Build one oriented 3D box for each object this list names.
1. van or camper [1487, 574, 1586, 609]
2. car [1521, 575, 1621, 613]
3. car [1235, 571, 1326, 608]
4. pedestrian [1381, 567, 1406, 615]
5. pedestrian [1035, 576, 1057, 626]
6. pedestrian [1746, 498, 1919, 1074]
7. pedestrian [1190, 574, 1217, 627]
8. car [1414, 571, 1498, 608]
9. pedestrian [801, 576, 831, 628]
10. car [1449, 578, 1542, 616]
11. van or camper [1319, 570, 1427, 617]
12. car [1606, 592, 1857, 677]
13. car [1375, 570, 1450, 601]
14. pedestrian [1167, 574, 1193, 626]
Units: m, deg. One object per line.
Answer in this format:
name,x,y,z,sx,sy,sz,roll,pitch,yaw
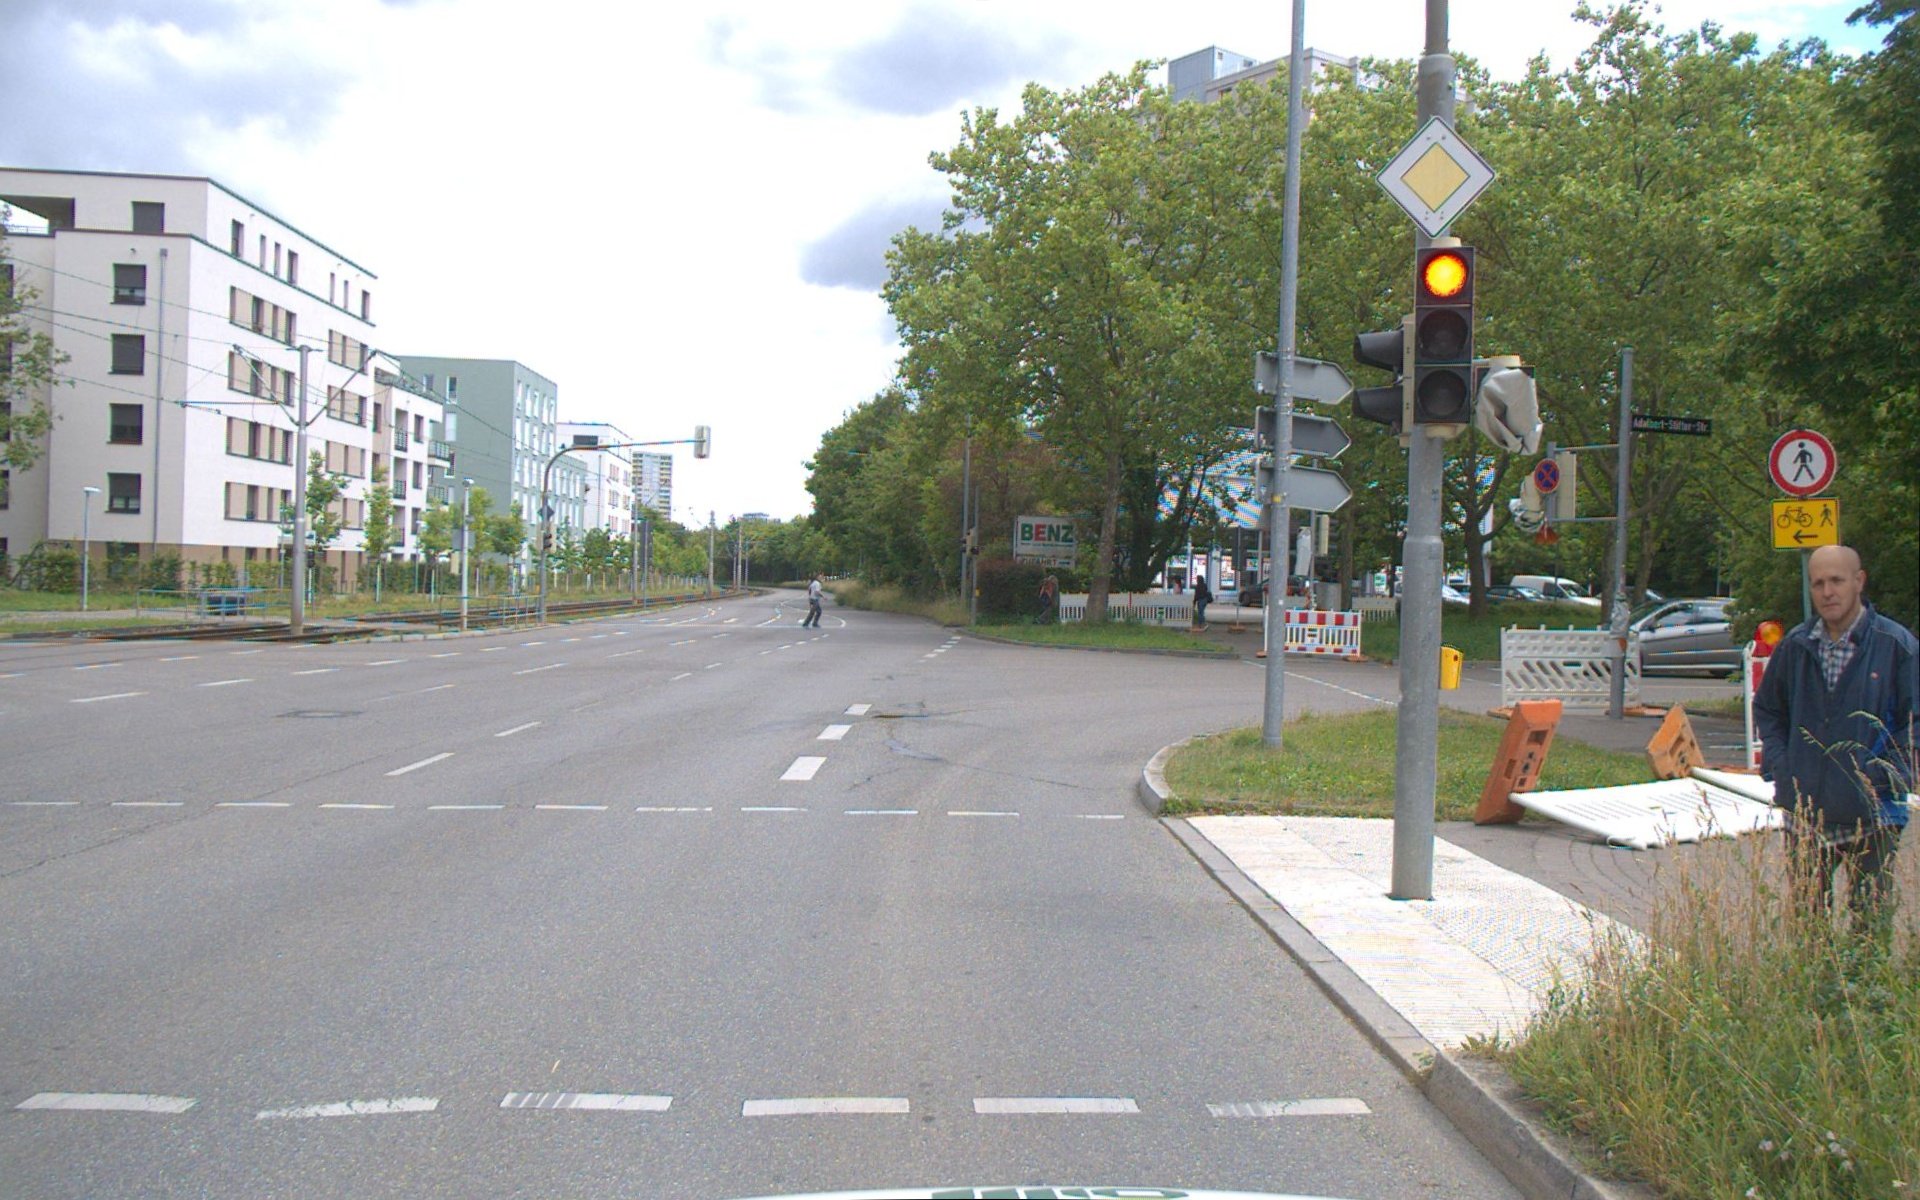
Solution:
van or camper,23.616,-0.341,67.846,1.499,1.380,3.732,1,0,-33
car,25.542,-0.252,69.241,1.465,1.491,3.851,1,0,-31
car,14.063,-0.447,72.720,1.708,1.526,4.232,1,0,-27
pedestrian,18.750,-0.387,71.557,0.789,2.037,0.852,1,-1,-5
pedestrian,2.708,0.037,51.928,0.639,1.565,0.773,1,-1,4
pedestrian,3.088,0.569,5.566,0.712,1.770,0.954,1,0,30
pedestrian,7.144,0.022,48.485,0.703,1.515,0.700,1,-1,3
car,24.055,-0.502,80.242,1.650,1.663,3.783,1,1,-30
pedestrian,-4.509,0.061,51.879,0.831,1.614,0.796,1,-1,0
car,21.097,-0.122,65.244,1.464,1.429,3.375,1,0,-30
van or camper,15.491,-0.258,62.224,1.819,1.713,3.964,0,1,-28
car,15.721,0.696,33.853,4.307,1.614,1.772,1,0,0
car,21.470,-0.690,78.545,1.465,1.429,3.372,1,0,-31
pedestrian,6.522,0.005,49.071,0.671,1.515,0.700,1,-1,2
